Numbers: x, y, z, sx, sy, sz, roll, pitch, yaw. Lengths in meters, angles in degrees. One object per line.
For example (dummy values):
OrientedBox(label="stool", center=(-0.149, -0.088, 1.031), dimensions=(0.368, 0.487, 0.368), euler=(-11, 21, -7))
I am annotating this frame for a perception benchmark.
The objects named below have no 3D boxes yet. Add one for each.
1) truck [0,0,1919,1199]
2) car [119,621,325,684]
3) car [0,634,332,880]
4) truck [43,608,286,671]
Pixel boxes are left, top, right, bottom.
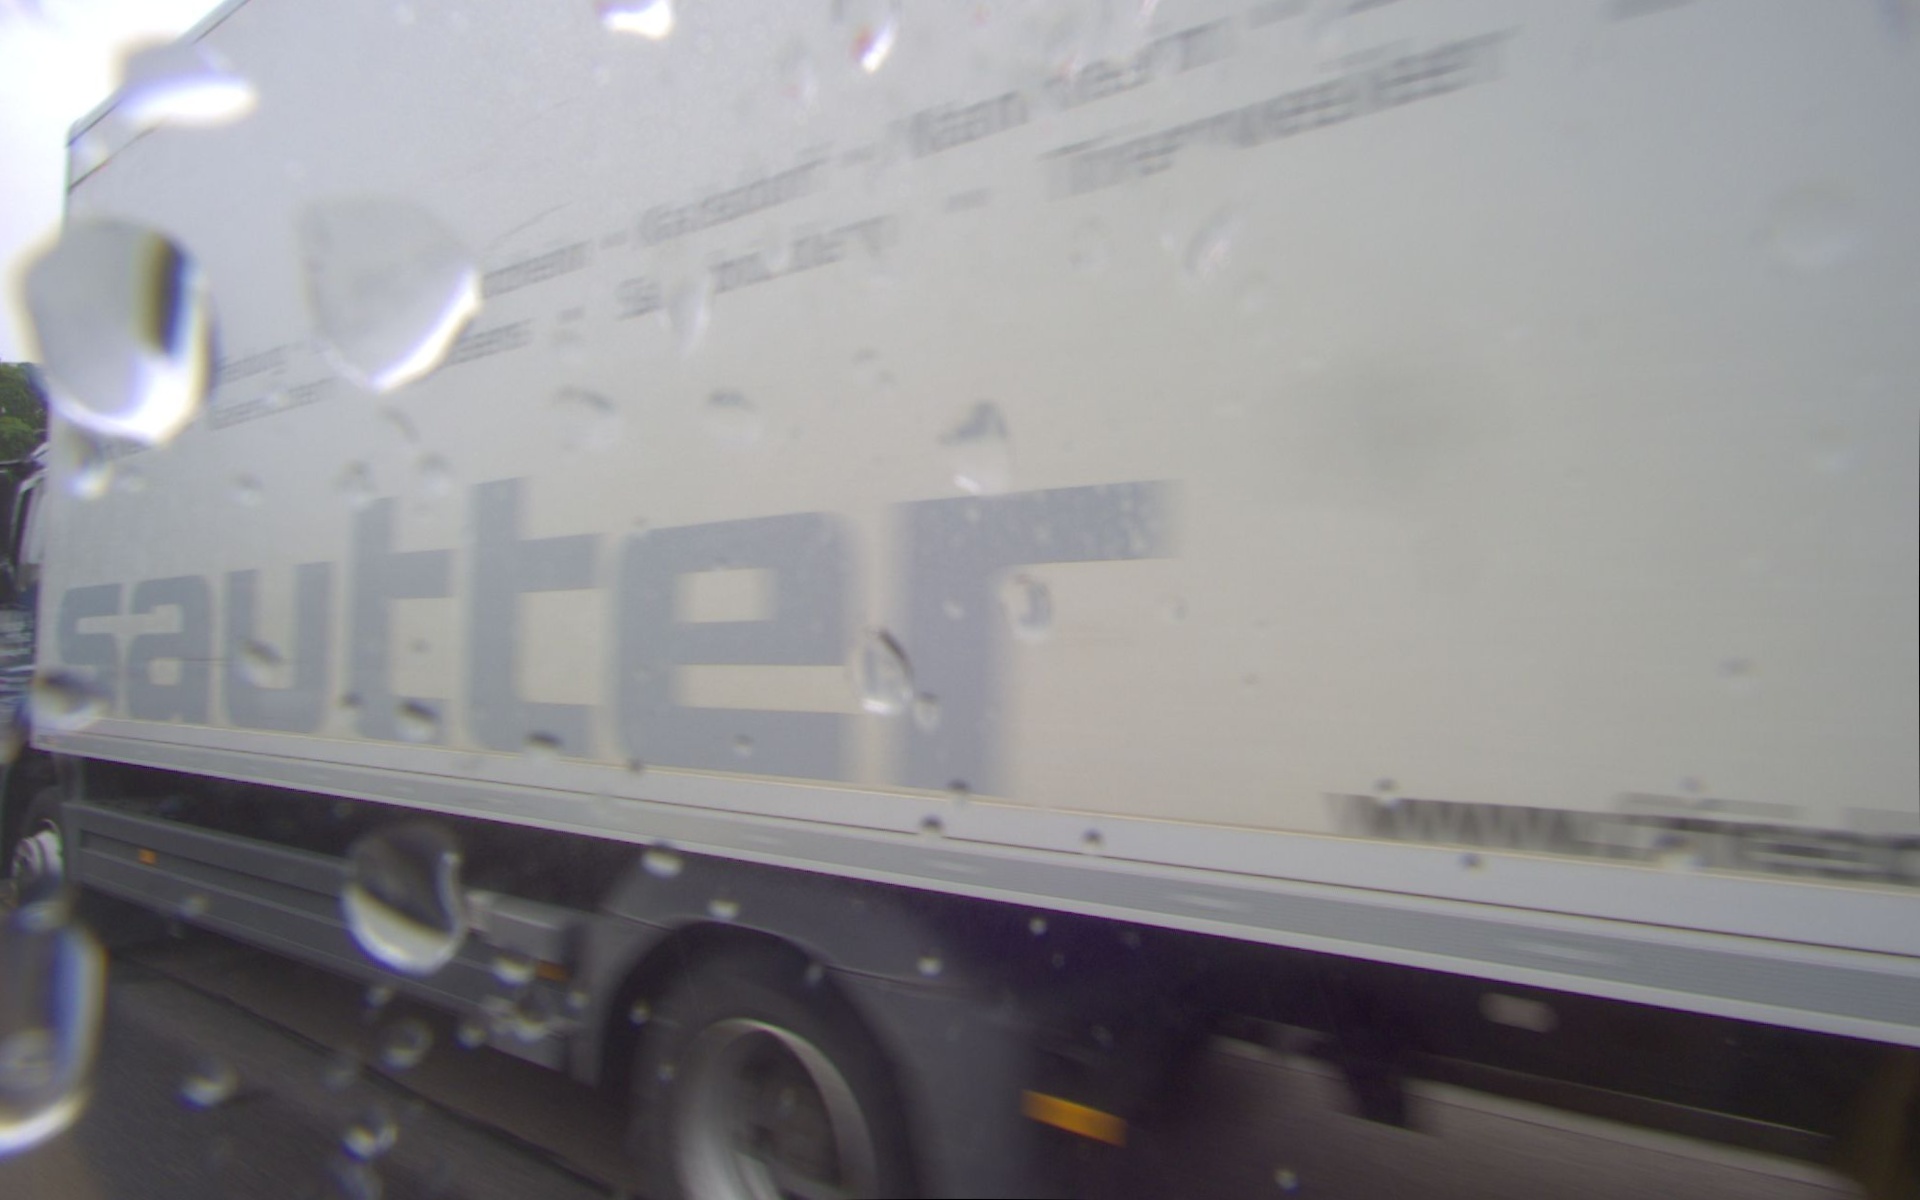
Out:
OrientedBox(label="truck", center=(-1.032, -0.337, 4.003), dimensions=(9.169, 3.836, 2.737), euler=(-1, -3, 33))
OrientedBox(label="car", center=(-18.336, 1.305, 25.077), dimensions=(3.715, 1.414, 1.724), euler=(3, -2, -18))
OrientedBox(label="car", center=(-7.045, 1.017, 7.981), dimensions=(4.283, 1.460, 1.794), euler=(-1, -1, 32))
OrientedBox(label="truck", center=(-29.711, 1.418, 37.733), dimensions=(2.066, 2.167, 6.907), euler=(-1, -1, 34))
